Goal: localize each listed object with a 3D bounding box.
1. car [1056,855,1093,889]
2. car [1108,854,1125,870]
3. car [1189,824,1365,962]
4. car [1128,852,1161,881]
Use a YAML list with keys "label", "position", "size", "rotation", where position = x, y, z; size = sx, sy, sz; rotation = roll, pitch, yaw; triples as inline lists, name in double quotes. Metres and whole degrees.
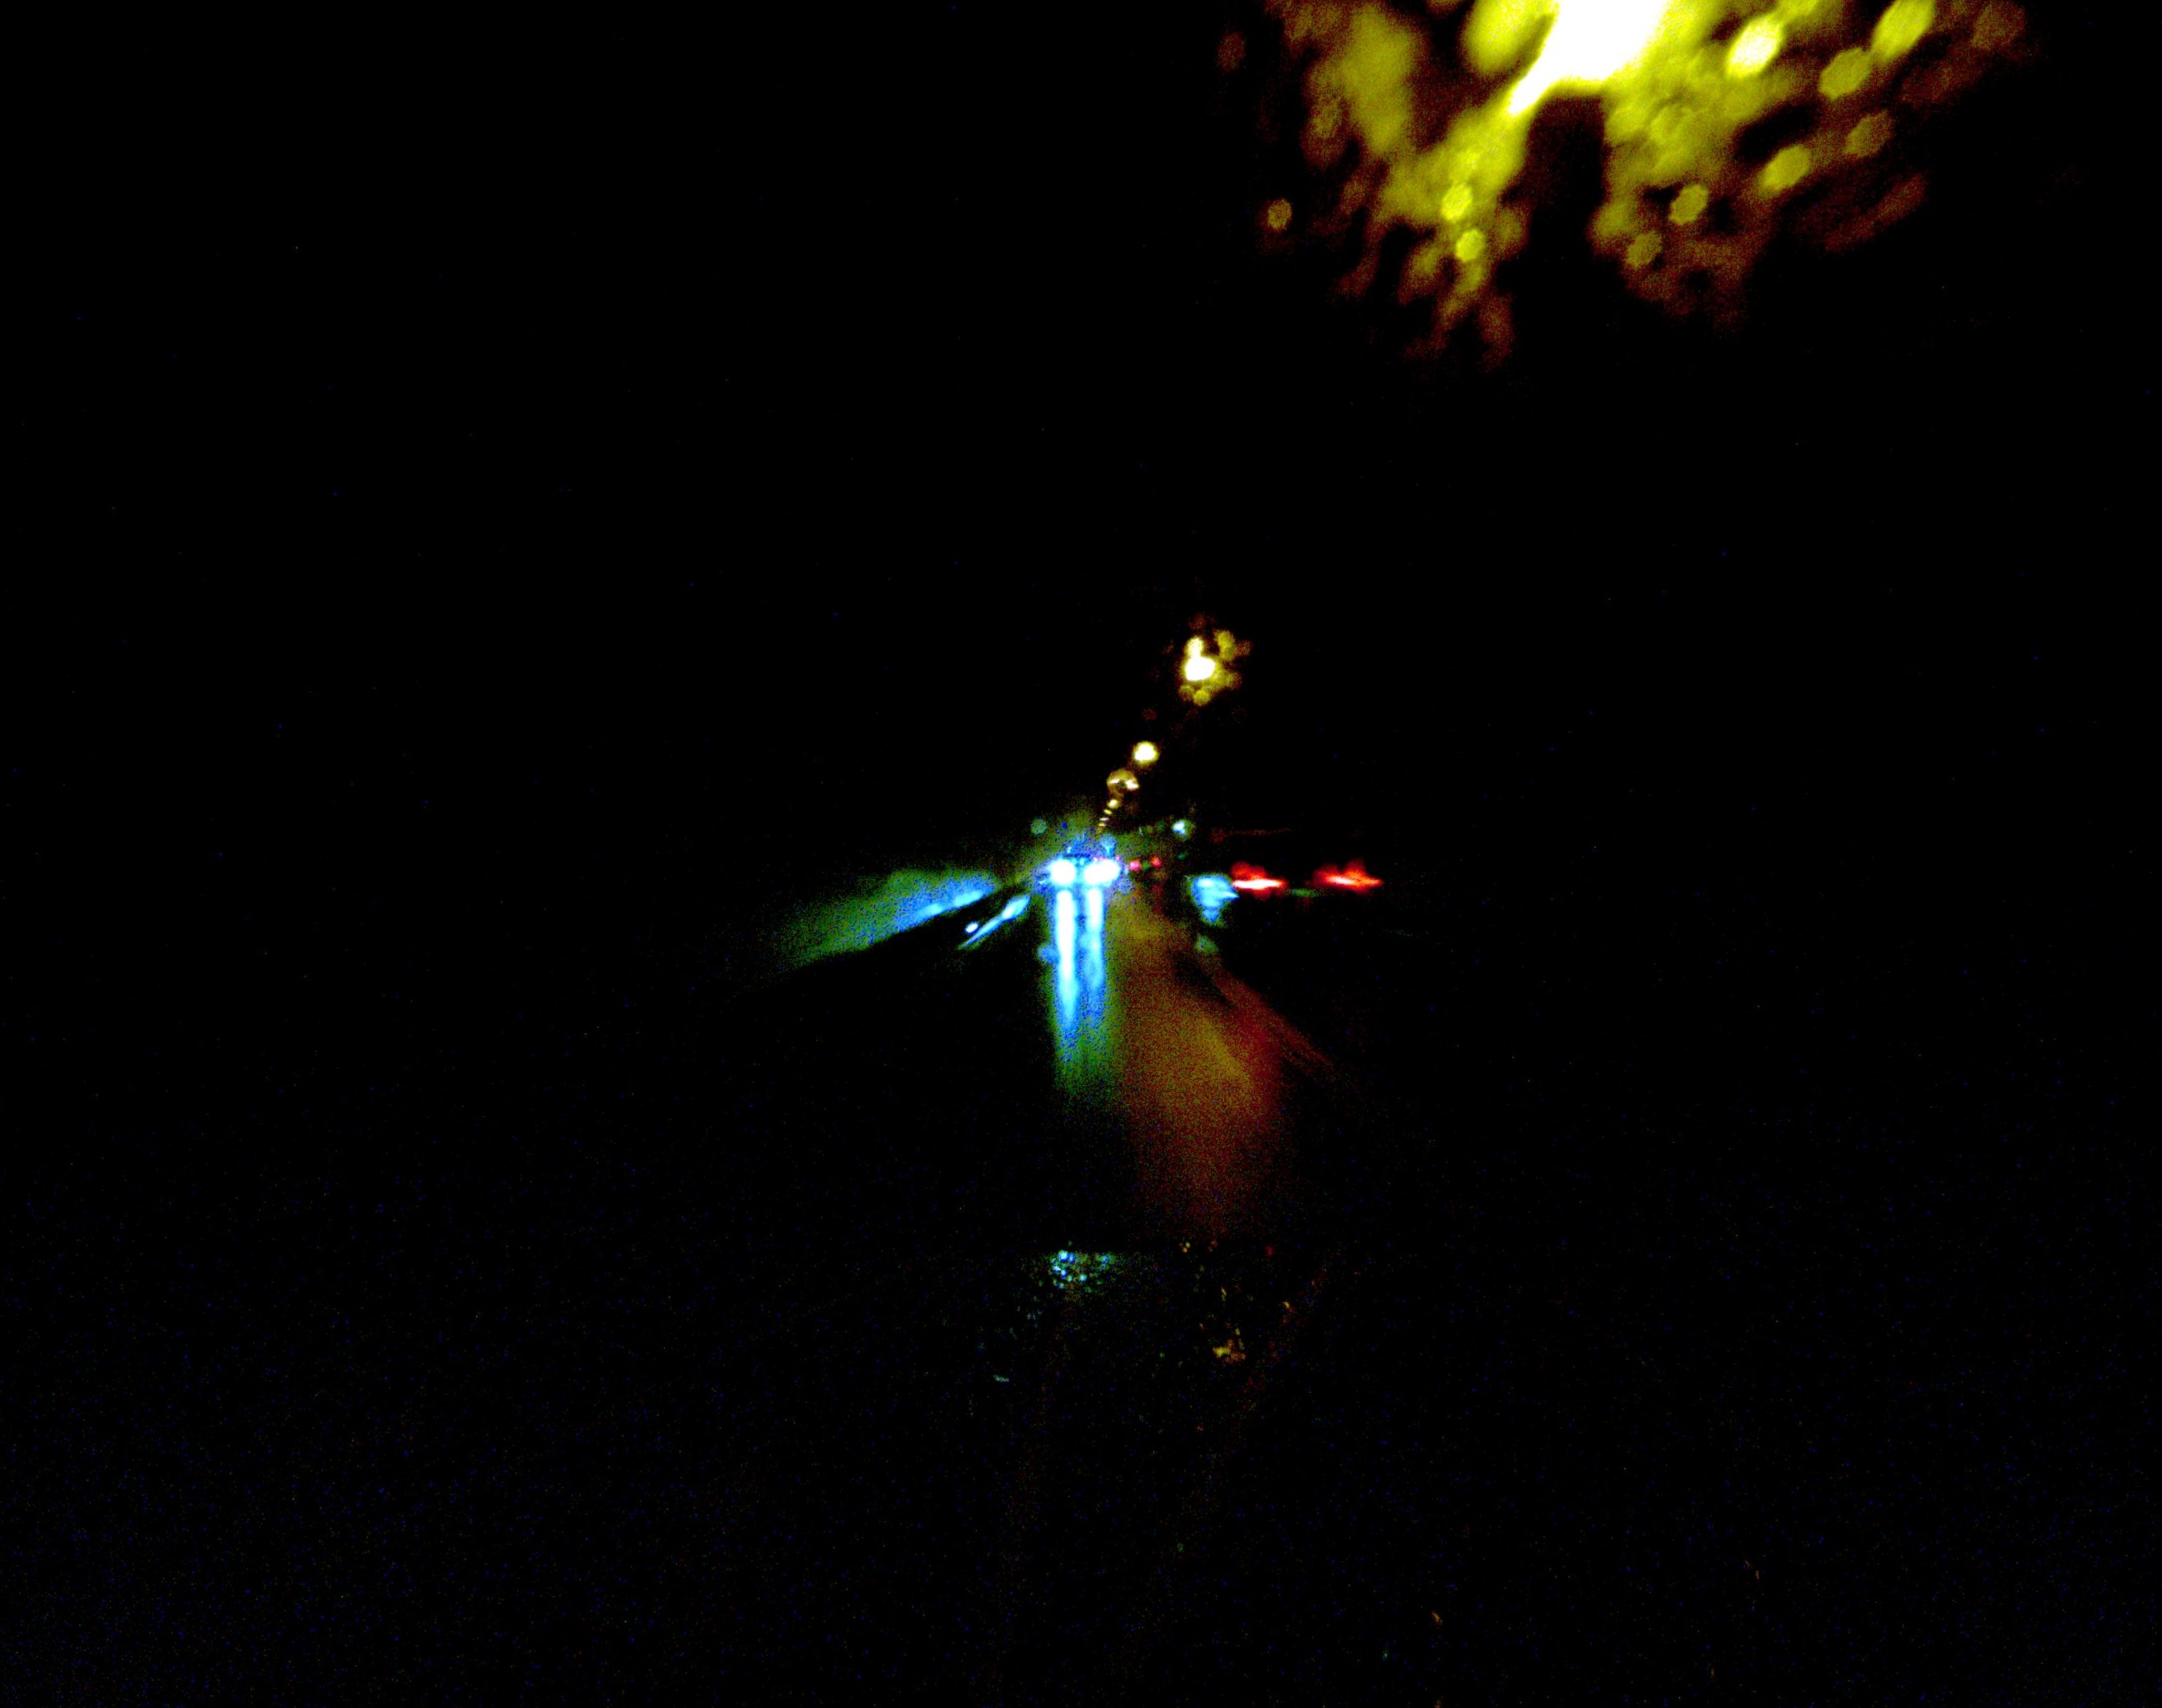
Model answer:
- label: "car"
  position: [-0.292, 0.831, 36.336]
  size: [1.628, 1.487, 3.584]
  rotation: [-2, 0, 1]
- label: "car"
  position: [3.840, 0.828, 82.396]
  size: [1.628, 1.603, 3.584]
  rotation: [-2, 0, 1]
- label: "car"
  position: [3.166, 0.545, 13.436]
  size: [1.785, 1.917, 5.138]
  rotation: [-2, 0, 1]
- label: "car"
  position: [3.861, 0.729, 46.759]
  size: [1.639, 1.618, 4.145]
  rotation: [-2, 0, 1]
